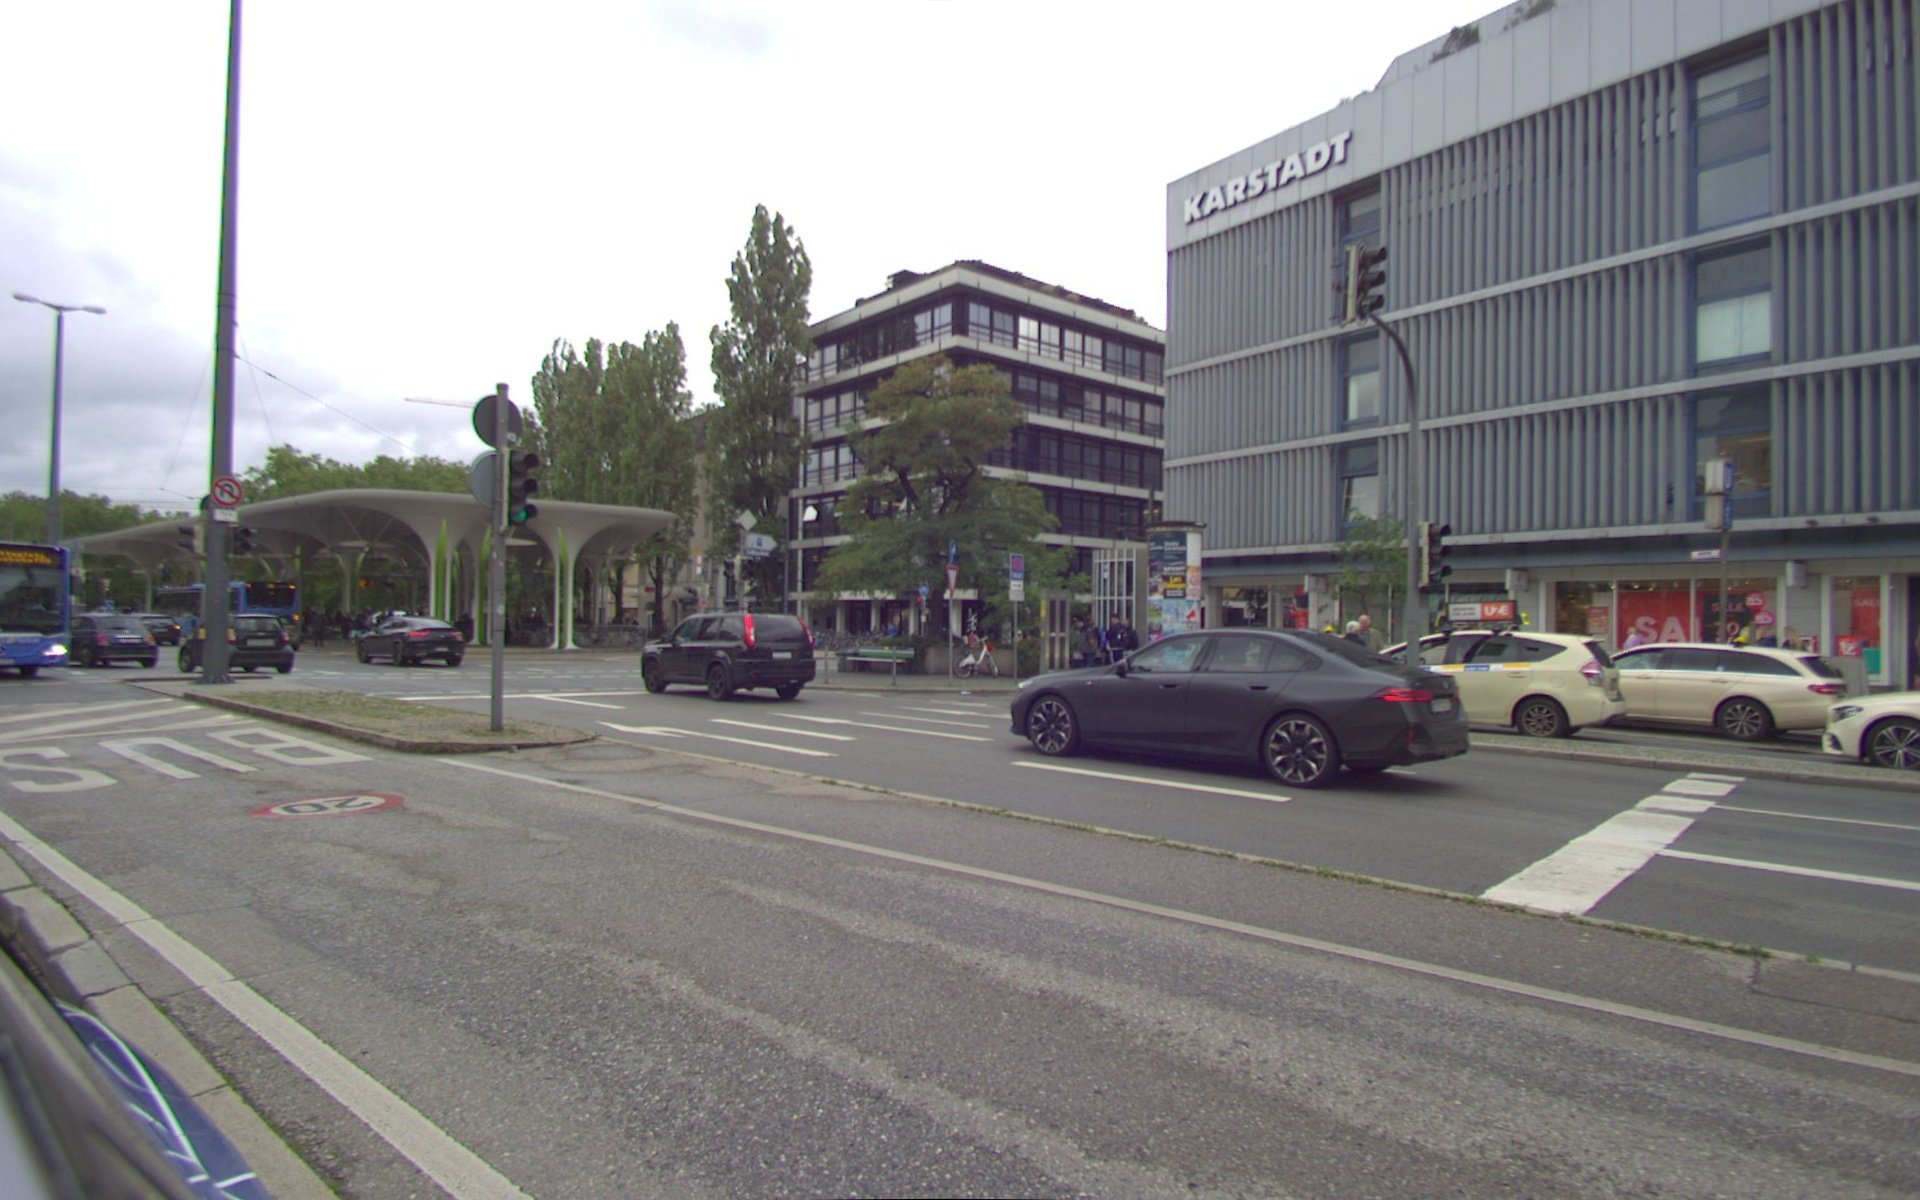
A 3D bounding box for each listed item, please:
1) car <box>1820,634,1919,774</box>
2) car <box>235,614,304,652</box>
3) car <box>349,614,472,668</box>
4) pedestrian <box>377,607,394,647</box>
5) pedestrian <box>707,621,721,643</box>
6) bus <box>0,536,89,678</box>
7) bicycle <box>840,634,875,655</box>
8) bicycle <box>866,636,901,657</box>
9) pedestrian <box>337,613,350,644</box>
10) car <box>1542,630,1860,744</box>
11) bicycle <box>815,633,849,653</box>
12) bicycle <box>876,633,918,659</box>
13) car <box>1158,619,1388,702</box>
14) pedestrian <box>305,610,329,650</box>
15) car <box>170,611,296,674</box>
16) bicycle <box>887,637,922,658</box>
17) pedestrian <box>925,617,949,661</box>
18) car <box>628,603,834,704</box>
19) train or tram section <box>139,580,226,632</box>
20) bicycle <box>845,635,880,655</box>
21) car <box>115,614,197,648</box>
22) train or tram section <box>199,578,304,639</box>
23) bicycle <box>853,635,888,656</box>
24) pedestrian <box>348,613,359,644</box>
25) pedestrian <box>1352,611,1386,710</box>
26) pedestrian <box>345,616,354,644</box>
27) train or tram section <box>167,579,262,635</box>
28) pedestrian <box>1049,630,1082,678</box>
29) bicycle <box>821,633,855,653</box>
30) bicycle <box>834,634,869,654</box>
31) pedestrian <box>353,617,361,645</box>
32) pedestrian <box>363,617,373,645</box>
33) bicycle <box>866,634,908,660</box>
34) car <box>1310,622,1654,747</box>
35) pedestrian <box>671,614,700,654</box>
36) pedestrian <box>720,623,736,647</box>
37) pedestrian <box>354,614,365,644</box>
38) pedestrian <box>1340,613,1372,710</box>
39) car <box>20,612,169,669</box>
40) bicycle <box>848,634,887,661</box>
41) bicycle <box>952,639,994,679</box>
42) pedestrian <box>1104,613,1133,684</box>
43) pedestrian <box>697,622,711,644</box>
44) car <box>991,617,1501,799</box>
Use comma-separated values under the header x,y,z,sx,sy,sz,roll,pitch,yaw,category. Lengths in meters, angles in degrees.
x,y,z,sx,sy,sz,roll,pitch,yaw,category
12.524,1.183,10.784,1.921,1.552,4.856,2,-2,-39,car
-28.955,1.349,42.411,2.744,1.527,1.653,-1,-2,39,car
-17.890,1.289,32.862,4.613,1.589,1.973,0,-2,40,car
-27.068,1.256,47.666,0.656,1.865,0.790,2,-2,-29,pedestrian
-19.431,2.554,79.897,0.788,1.737,0.828,2,-2,-37,pedestrian
-24.516,0.126,24.488,11.195,2.966,2.907,0,0,37,bus
-5.842,2.538,57.900,2.044,1.142,0.562,2,-2,-44,bicycle
-4.210,2.552,55.969,2.044,1.142,0.562,2,-2,-44,bicycle
-30.557,1.420,50.151,0.419,1.514,0.491,1,-2,-23,pedestrian
12.042,1.310,16.602,4.001,1.579,1.885,-1,-2,44,car
-7.557,2.525,59.691,2.044,1.142,0.562,2,-2,-44,bicycle
-2.572,1.873,41.356,1.925,1.006,0.503,-1,-2,42,bicycle
6.411,1.169,20.776,4.277,1.522,1.842,0,-2,27,car
-28.730,1.351,45.216,0.788,1.761,0.702,-1,-2,41,pedestrian
-18.684,1.054,26.014,2.776,1.518,1.547,0,-1,28,car
-2.995,2.561,54.737,2.044,1.142,0.562,2,-2,-44,bicycle
-0.915,1.587,40.960,0.647,1.748,0.757,0,-2,34,pedestrian
-4.700,1.000,20.338,1.970,1.791,4.603,2,-2,-43,car
-48.376,0.409,62.893,7.404,3.024,2.803,0,-2,41,train or tram section
-5.508,2.542,57.383,2.044,1.142,0.562,2,-2,-44,bicycle
-35.996,1.350,45.271,4.612,1.427,1.973,0,-2,40,car
-37.256,0.479,53.119,7.404,3.024,2.803,0,-2,41,train or tram section
-5.002,2.545,56.884,2.044,1.142,0.562,2,-2,-44,bicycle
-30.201,1.413,50.403,0.316,1.514,0.317,0,-2,32,pedestrian
7.383,1.072,18.282,0.428,1.742,0.518,0,0,41,pedestrian
-30.043,1.477,49.788,0.312,1.353,0.340,2,-2,-32,pedestrian
-42.815,0.445,58.014,7.404,3.024,2.803,0,-2,41,train or tram section
2.991,1.519,28.704,0.774,1.318,0.537,-1,-2,42,pedestrian
-7.128,2.528,59.263,2.044,1.142,0.562,2,-2,-44,bicycle
-6.252,2.535,58.362,2.044,1.142,0.562,2,-2,-44,bicycle
-29.774,1.526,49.981,0.312,1.353,0.340,2,-2,-32,pedestrian
-29.462,1.543,50.350,0.270,1.387,0.299,-1,-2,39,pedestrian
-2.965,1.875,40.868,1.925,1.006,0.503,-1,-2,42,bicycle
7.883,1.184,15.571,4.474,1.624,1.570,0,-2,41,car
-12.623,1.549,46.573,0.980,1.791,0.849,-1,-2,42,pedestrian
-16.463,2.470,71.815,0.821,1.712,0.907,1,-2,-27,pedestrian
-29.837,1.444,50.312,0.316,1.514,0.331,0,-2,32,pedestrian
6.954,1.074,17.767,0.425,1.668,0.360,0,0,41,pedestrian
-23.971,1.107,28.046,3.361,1.491,1.618,0,-2,19,car
-3.656,1.878,39.931,1.751,1.006,0.503,-1,-2,42,bicycle
0.352,1.572,27.212,0.419,1.024,1.281,-1,-2,39,bicycle
4.062,1.235,26.003,0.510,1.792,0.555,0,0,44,pedestrian
-20.030,2.559,79.182,0.788,1.737,0.828,2,-2,-37,pedestrian
2.876,0.975,11.033,5.021,1.519,1.972,-1,-2,43,car
